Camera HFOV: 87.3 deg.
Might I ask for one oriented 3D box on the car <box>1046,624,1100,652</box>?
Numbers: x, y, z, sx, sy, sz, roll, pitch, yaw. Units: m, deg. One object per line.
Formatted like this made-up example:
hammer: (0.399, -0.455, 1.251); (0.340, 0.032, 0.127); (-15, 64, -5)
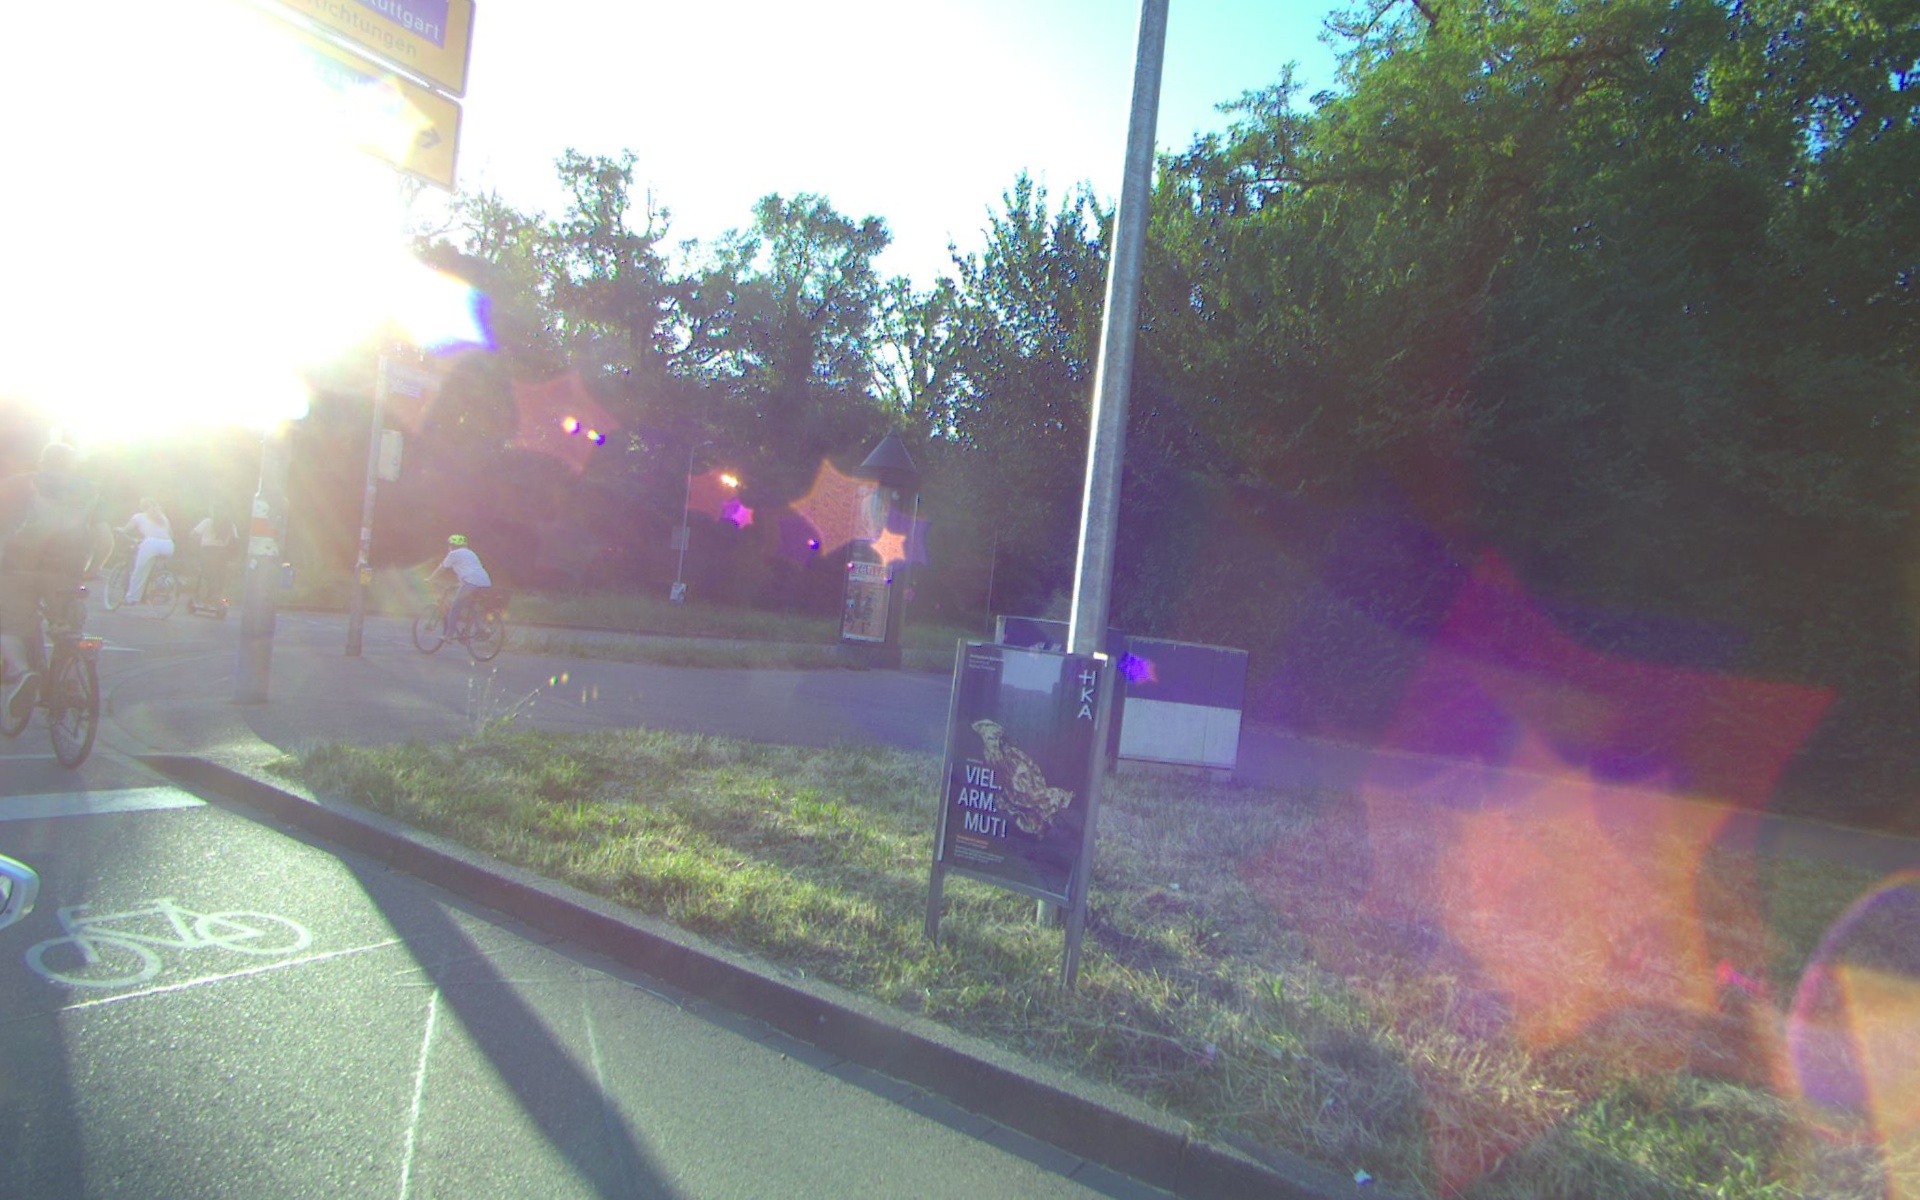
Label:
car: (8.063, 2.703, 71.353); (1.799, 1.632, 4.629); (4, -2, 34)

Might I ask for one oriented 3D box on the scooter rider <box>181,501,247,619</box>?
scooter rider: (-11.818, -0.623, 15.943); (0.497, 1.788, 0.566); (6, 0, 32)

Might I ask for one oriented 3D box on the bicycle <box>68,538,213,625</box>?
bicycle: (-11.972, -0.274, 14.692); (1.980, 1.019, 0.773); (7, -1, 24)

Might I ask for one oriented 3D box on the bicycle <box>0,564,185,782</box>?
bicycle: (-5.551, 0.382, 6.101); (1.795, 1.075, 0.699); (6, -1, 33)

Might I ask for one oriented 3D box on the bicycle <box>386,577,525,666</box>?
bicycle: (-7.035, 0.299, 14.031); (1.768, 1.027, 0.565); (6, 0, 18)

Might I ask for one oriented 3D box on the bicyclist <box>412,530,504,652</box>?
bicyclist: (-6.997, -0.115, 14.029); (0.882, 1.589, 0.555); (6, 1, 18)

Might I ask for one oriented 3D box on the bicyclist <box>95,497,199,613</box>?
bicyclist: (-11.829, -0.650, 14.647); (0.841, 1.536, 0.762); (7, 0, 24)

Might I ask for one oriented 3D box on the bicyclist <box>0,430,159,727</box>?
bicyclist: (-5.602, -0.123, 6.175); (0.785, 1.686, 0.699); (6, -1, 32)

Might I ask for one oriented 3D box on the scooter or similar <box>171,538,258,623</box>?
scooter or similar: (-11.797, -0.314, 15.914); (1.399, 1.204, 0.562); (6, 0, 33)
